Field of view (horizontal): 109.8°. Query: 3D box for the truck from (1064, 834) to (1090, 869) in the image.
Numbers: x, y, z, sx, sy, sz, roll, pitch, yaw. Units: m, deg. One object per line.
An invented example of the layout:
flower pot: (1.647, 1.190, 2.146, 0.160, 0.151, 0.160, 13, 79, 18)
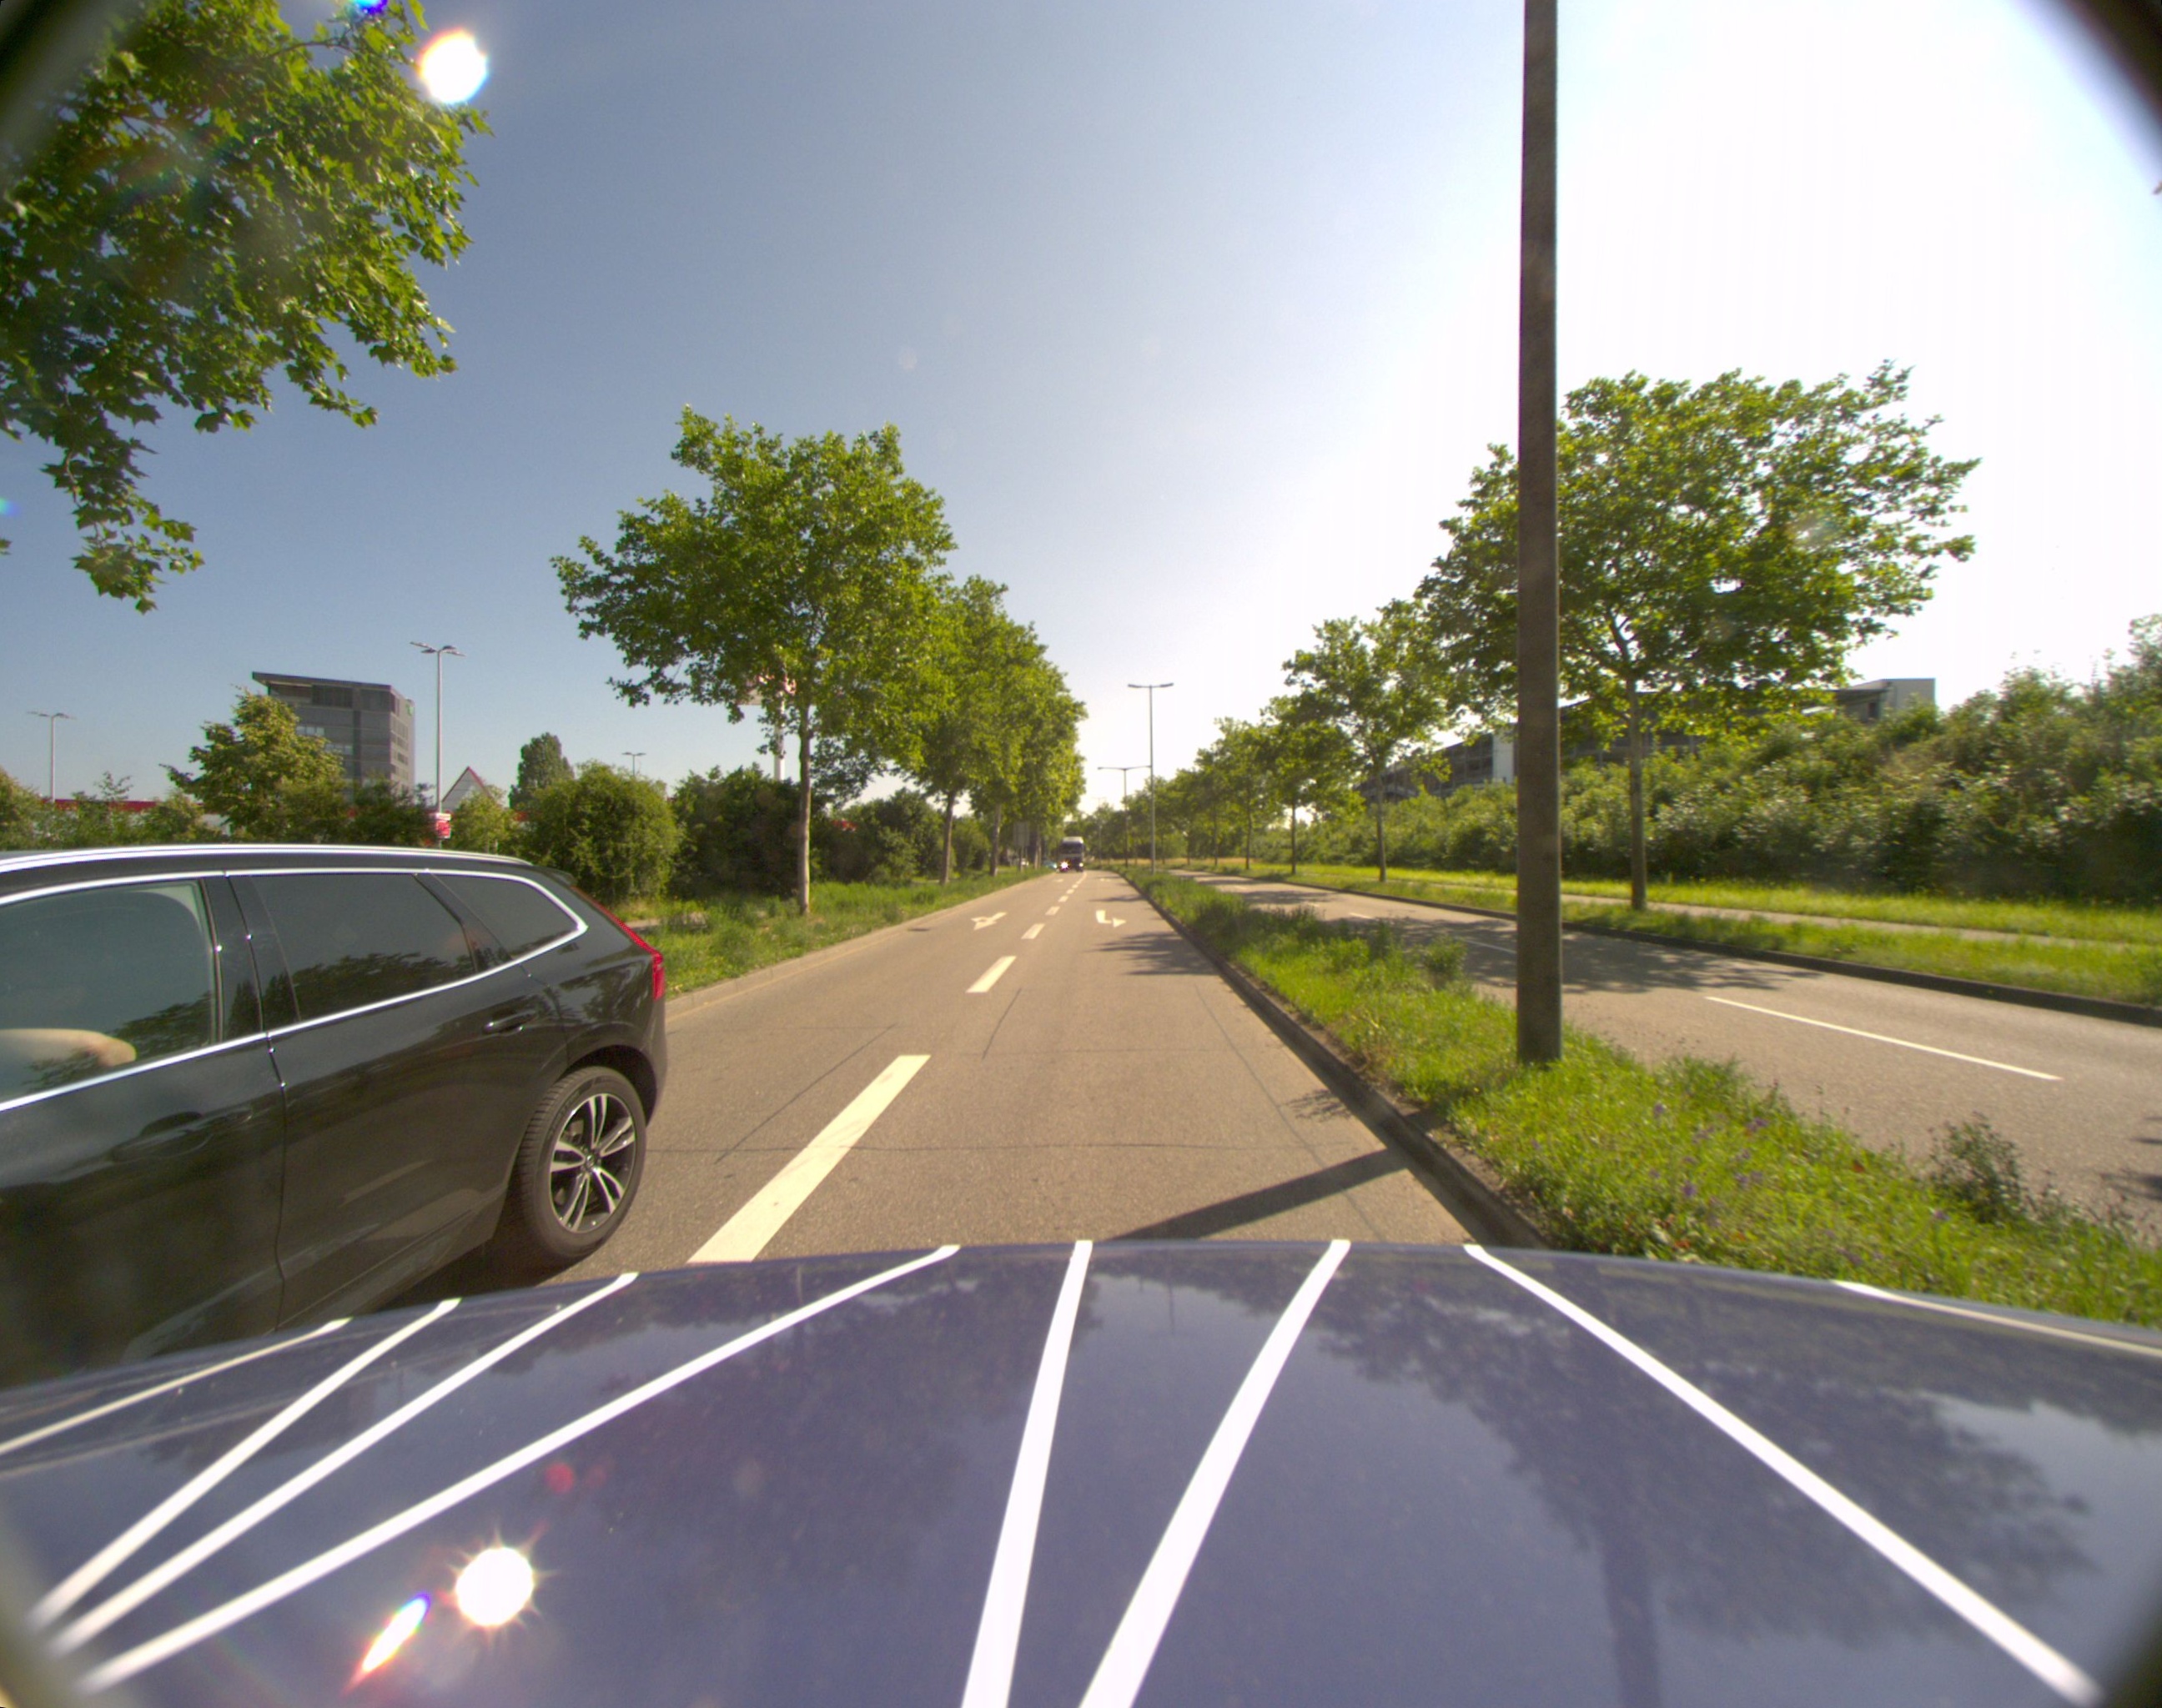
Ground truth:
truck: (-0.415, -0.292, 86.474, 2.741, 3.872, 5.851, -1, 1, 0)

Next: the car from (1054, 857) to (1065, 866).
car: (-3.314, 1.163, 117.985, 1.509, 1.349, 3.313, -2, 0, -1)

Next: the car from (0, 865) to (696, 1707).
car: (-2.895, 0.904, 1.443, 1.924, 1.613, 4.564, -1, 0, 1)
